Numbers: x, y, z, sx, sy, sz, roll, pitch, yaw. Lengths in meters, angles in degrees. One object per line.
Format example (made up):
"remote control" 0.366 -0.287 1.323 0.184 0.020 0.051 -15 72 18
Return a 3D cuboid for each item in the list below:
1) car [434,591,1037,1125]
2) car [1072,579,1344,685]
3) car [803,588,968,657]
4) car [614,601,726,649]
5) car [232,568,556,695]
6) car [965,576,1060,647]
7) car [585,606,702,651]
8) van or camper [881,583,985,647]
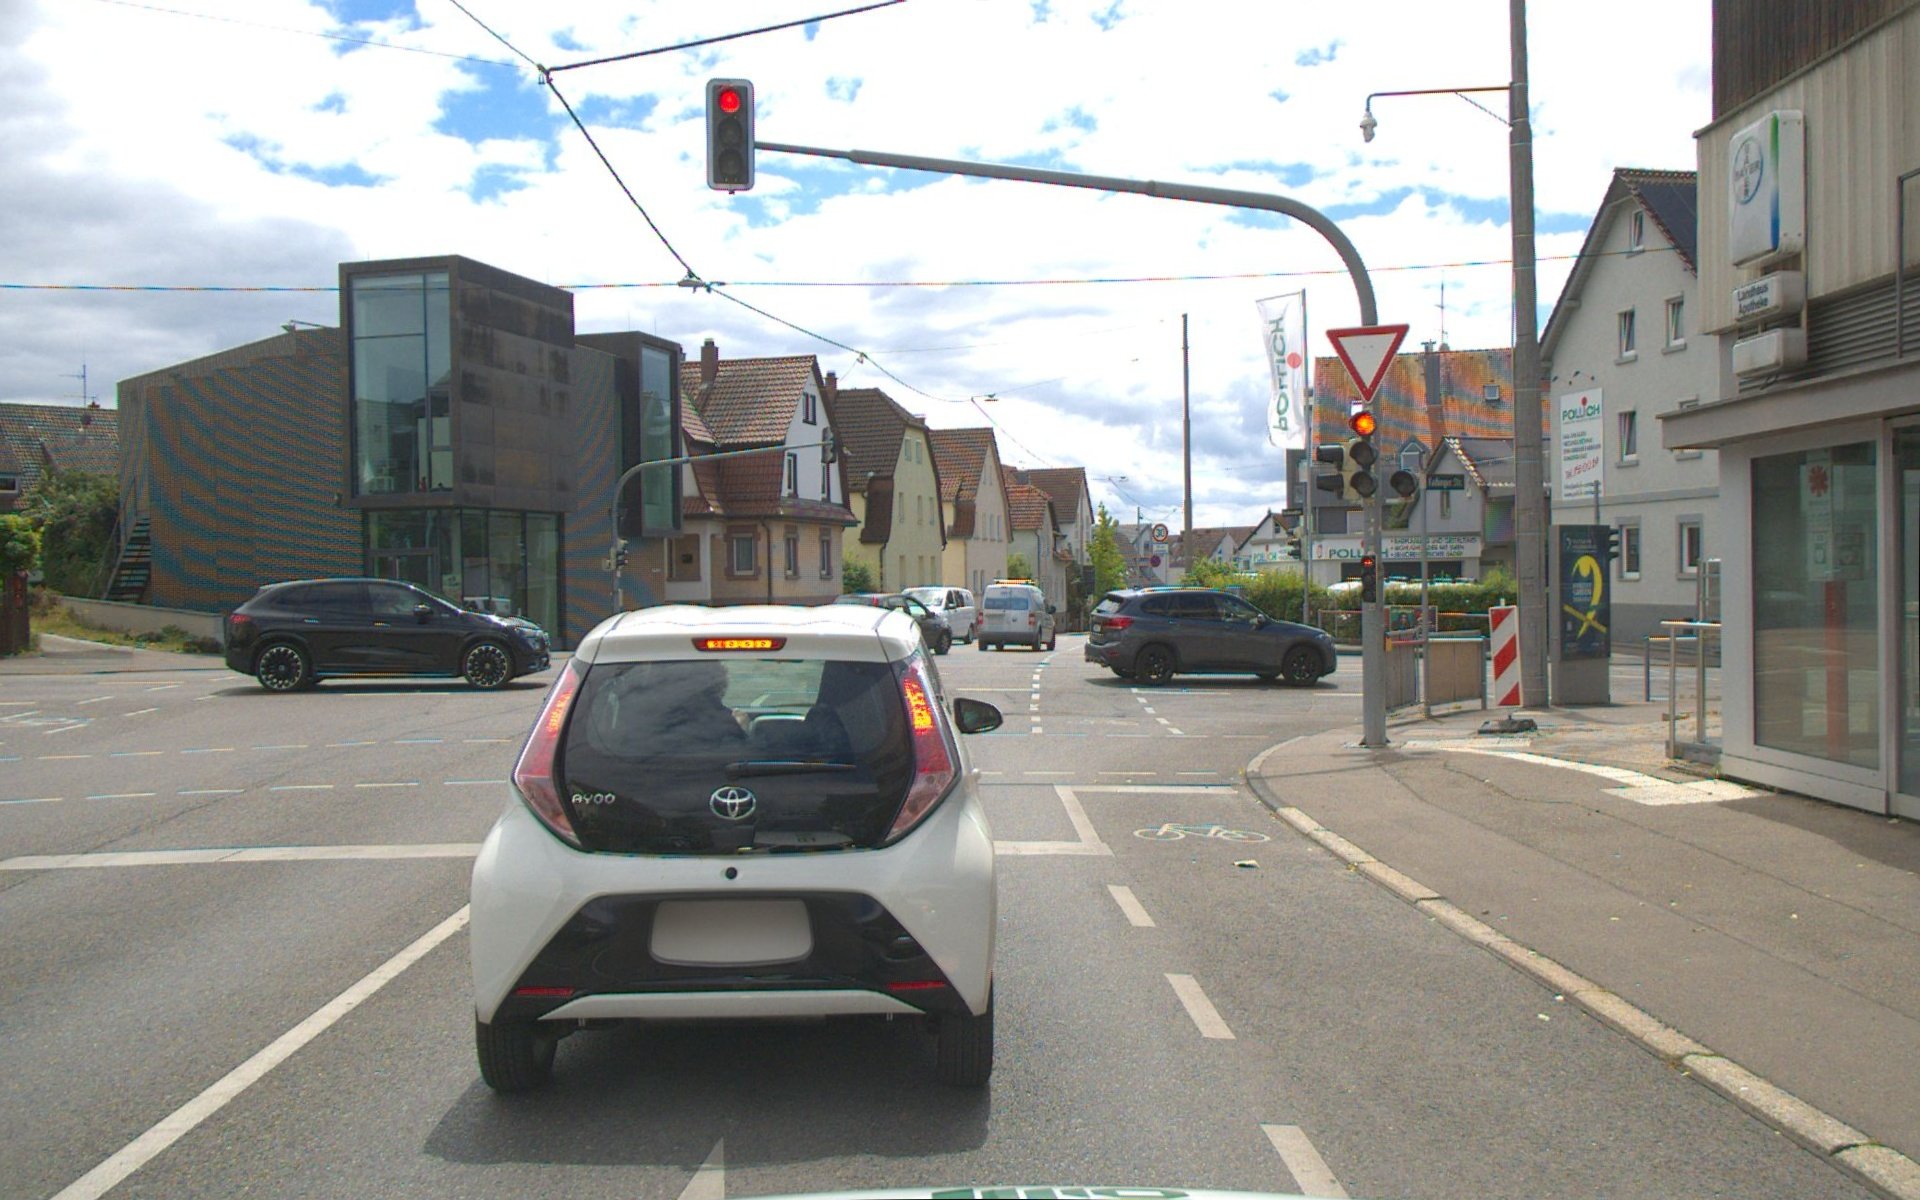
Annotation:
"car" -0.693 0.725 6.289 1.663 1.482 3.297 1 0 -3
"car" 4.224 0.513 28.496 4.216 1.705 1.994 -1 0 -12
"car" -1.690 0.505 38.733 1.958 1.512 3.990 1 0 32
"car" -10.273 0.874 58.698 3.537 1.633 1.693 1 0 11
"car" -8.651 0.436 25.670 4.417 1.773 1.996 -1 2 -10
"car" 1.537 0.313 46.643 1.951 1.881 4.076 1 0 12
"car" -10.813 0.963 56.567 3.537 1.444 1.693 1 0 11
"van or camper" -0.811 0.480 54.097 2.070 1.959 5.289 1 0 14
